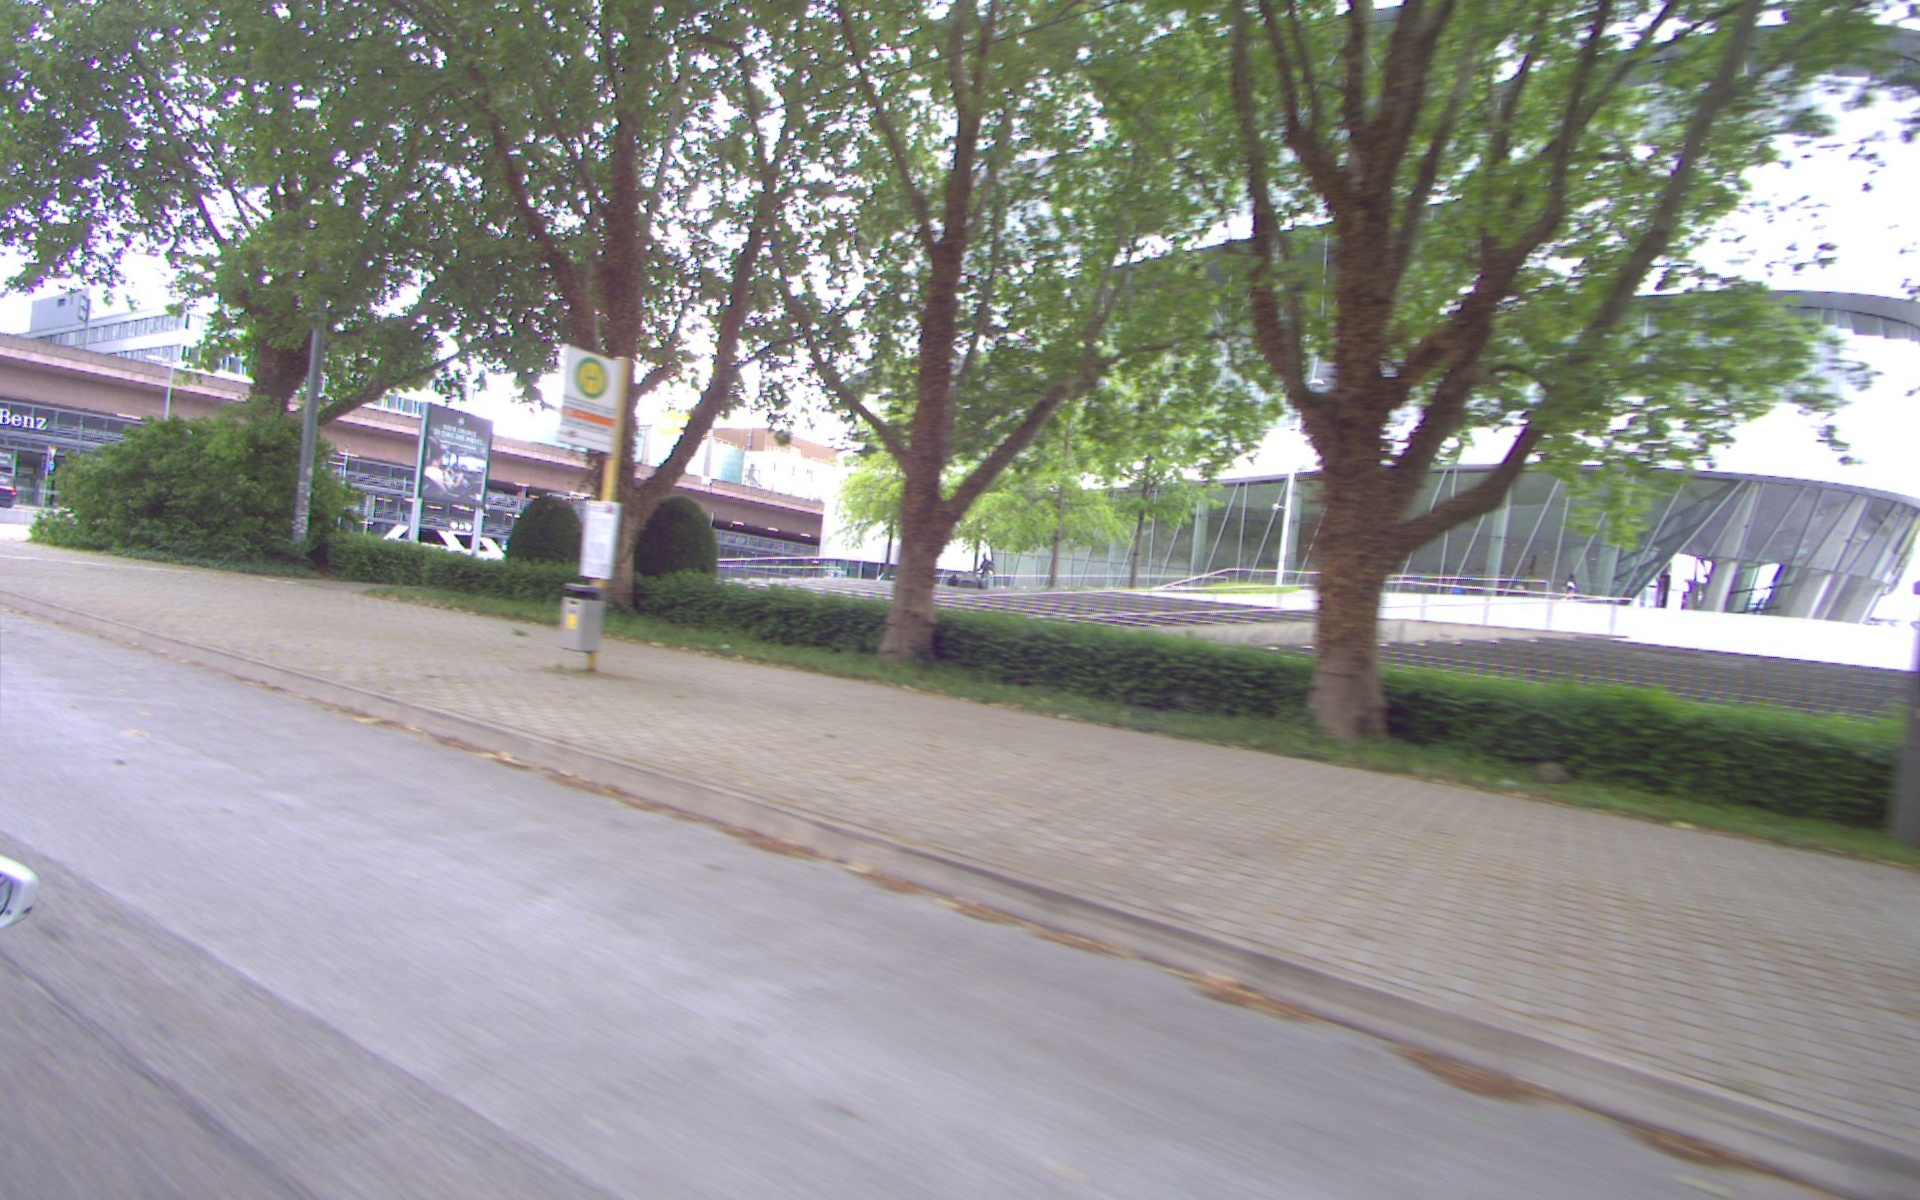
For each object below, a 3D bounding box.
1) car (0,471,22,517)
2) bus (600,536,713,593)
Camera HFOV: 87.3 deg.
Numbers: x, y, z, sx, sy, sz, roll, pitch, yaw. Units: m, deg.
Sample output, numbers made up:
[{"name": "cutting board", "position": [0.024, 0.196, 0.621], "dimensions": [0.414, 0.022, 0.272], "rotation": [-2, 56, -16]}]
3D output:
[{"name": "car", "position": [-47.189, -5.276, 48.460], "dimensions": [4.716, 2.038, 2.274], "rotation": [6, -1, 41]}, {"name": "bus", "position": [-28.798, -3.245, 96.102], "dimensions": [2.712, 3.981, 11.066], "rotation": [7, -1, 31]}]
